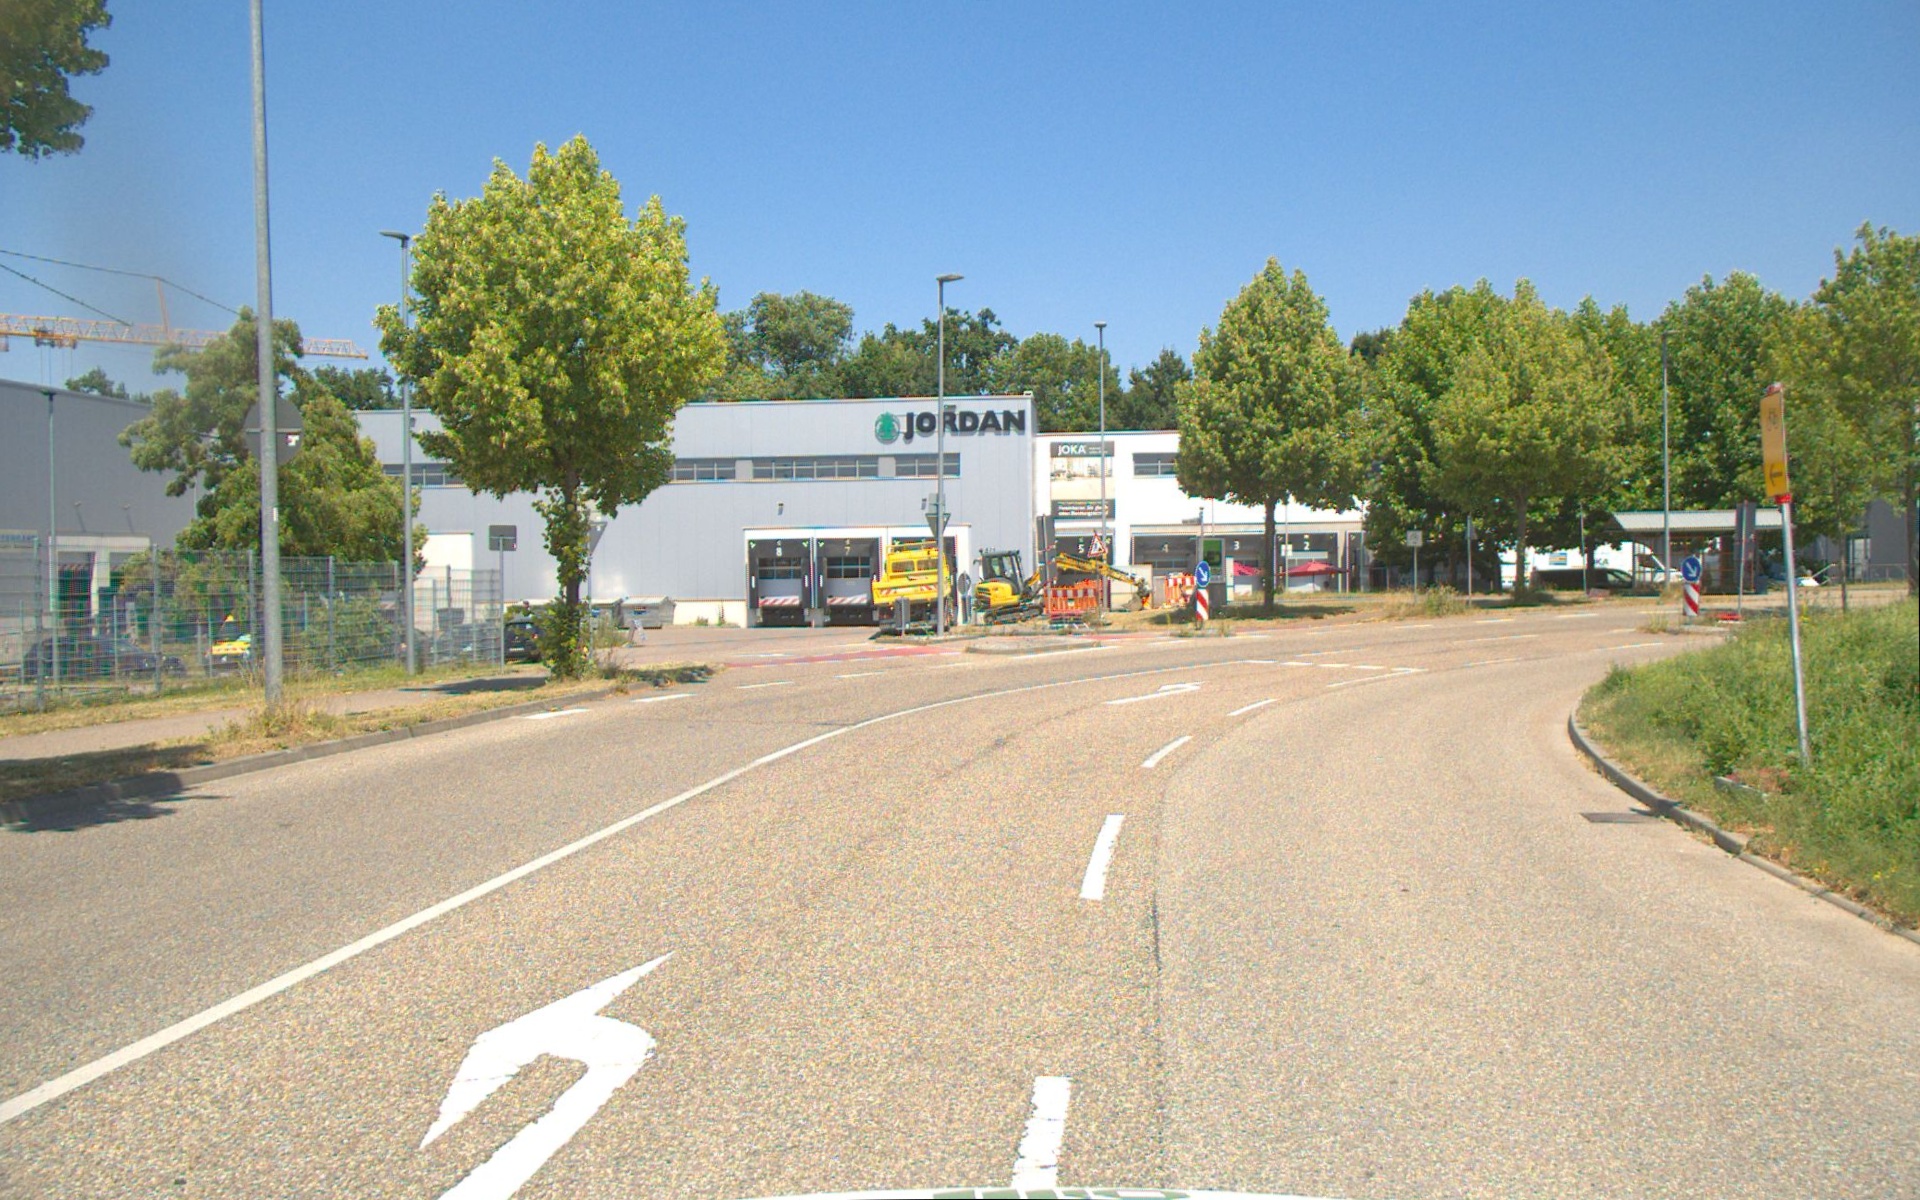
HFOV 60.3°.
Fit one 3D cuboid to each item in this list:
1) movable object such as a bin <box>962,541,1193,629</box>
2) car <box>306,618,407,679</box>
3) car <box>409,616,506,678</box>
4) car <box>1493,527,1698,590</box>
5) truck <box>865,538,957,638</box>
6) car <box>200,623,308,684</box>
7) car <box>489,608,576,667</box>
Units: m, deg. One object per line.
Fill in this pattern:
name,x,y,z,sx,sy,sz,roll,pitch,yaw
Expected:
movable object such as a bin,4.139,-0.541,57.250,7.365,2.542,3.671,-2,4,14
car,-20.553,1.614,56.500,1.953,1.578,4.001,-3,4,-1
car,-16.617,1.529,54.876,1.953,1.578,4.001,-3,4,-1
car,24.388,-1.558,63.713,7.019,2.124,2.002,-2,0,9
truck,-1.744,-0.500,57.352,2.880,2.935,5.809,-3,4,-3
car,-24.131,1.784,56.671,1.953,1.578,4.001,-3,4,-1
car,-14.720,1.266,57.167,1.953,1.578,4.001,-3,4,-1
